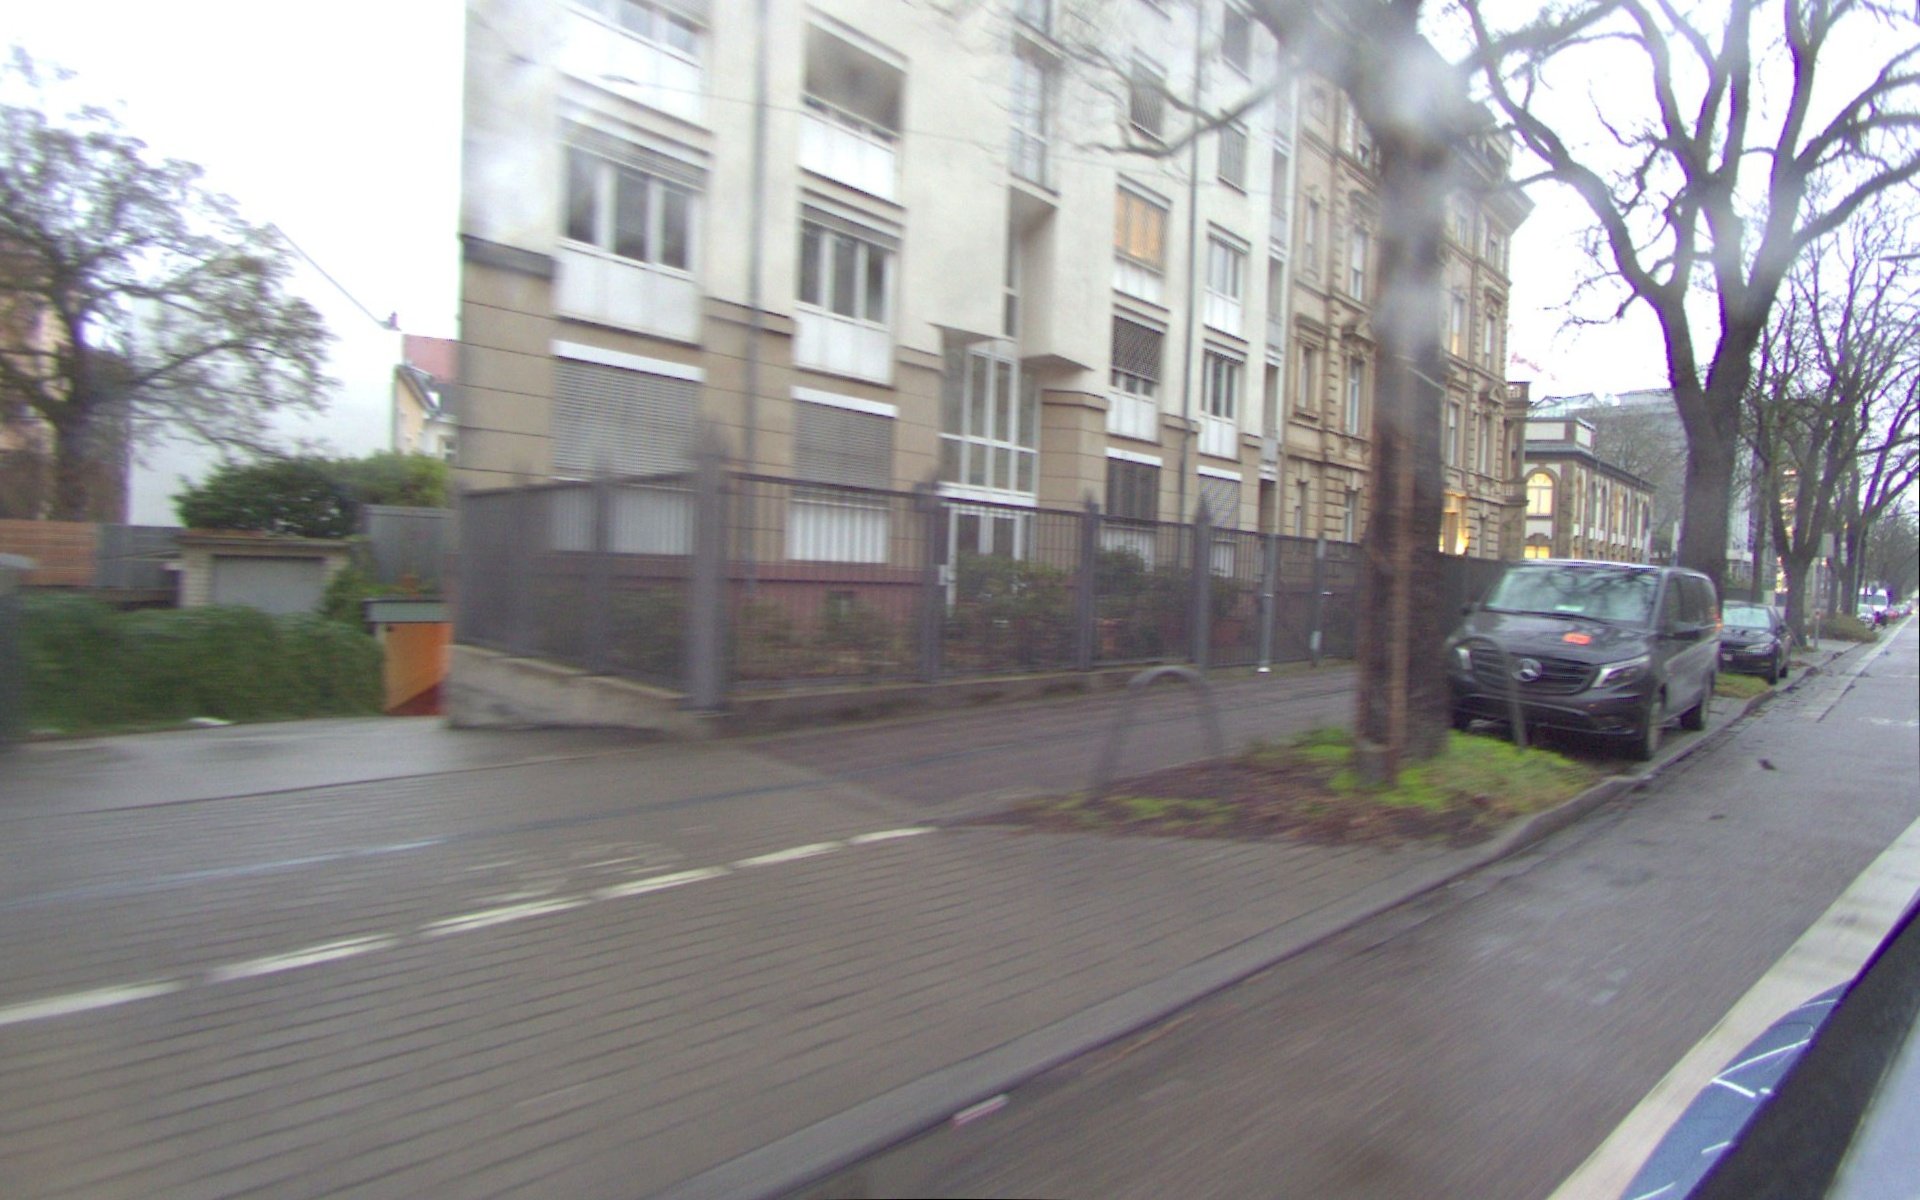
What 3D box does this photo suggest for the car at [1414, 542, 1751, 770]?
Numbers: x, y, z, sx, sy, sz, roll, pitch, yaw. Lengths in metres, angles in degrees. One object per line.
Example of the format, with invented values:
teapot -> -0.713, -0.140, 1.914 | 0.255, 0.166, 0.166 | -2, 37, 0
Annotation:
car -> 6.965, 0.437, 11.051 | 2.032, 1.898, 4.884 | 4, 3, 44

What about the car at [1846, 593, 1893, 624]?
car -> 54.328, 0.490, 60.523 | 1.992, 1.702, 3.940 | 2, 2, 41

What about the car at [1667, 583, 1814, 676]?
car -> 14.899, 0.507, 19.236 | 1.758, 1.463, 4.092 | 6, 4, 43

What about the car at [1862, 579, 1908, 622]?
car -> 61.429, -0.029, 67.285 | 2.086, 2.669, 5.368 | 2, 2, 41

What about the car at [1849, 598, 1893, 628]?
car -> 47.808, 0.634, 53.164 | 1.622, 1.425, 3.940 | 2, 2, 41
